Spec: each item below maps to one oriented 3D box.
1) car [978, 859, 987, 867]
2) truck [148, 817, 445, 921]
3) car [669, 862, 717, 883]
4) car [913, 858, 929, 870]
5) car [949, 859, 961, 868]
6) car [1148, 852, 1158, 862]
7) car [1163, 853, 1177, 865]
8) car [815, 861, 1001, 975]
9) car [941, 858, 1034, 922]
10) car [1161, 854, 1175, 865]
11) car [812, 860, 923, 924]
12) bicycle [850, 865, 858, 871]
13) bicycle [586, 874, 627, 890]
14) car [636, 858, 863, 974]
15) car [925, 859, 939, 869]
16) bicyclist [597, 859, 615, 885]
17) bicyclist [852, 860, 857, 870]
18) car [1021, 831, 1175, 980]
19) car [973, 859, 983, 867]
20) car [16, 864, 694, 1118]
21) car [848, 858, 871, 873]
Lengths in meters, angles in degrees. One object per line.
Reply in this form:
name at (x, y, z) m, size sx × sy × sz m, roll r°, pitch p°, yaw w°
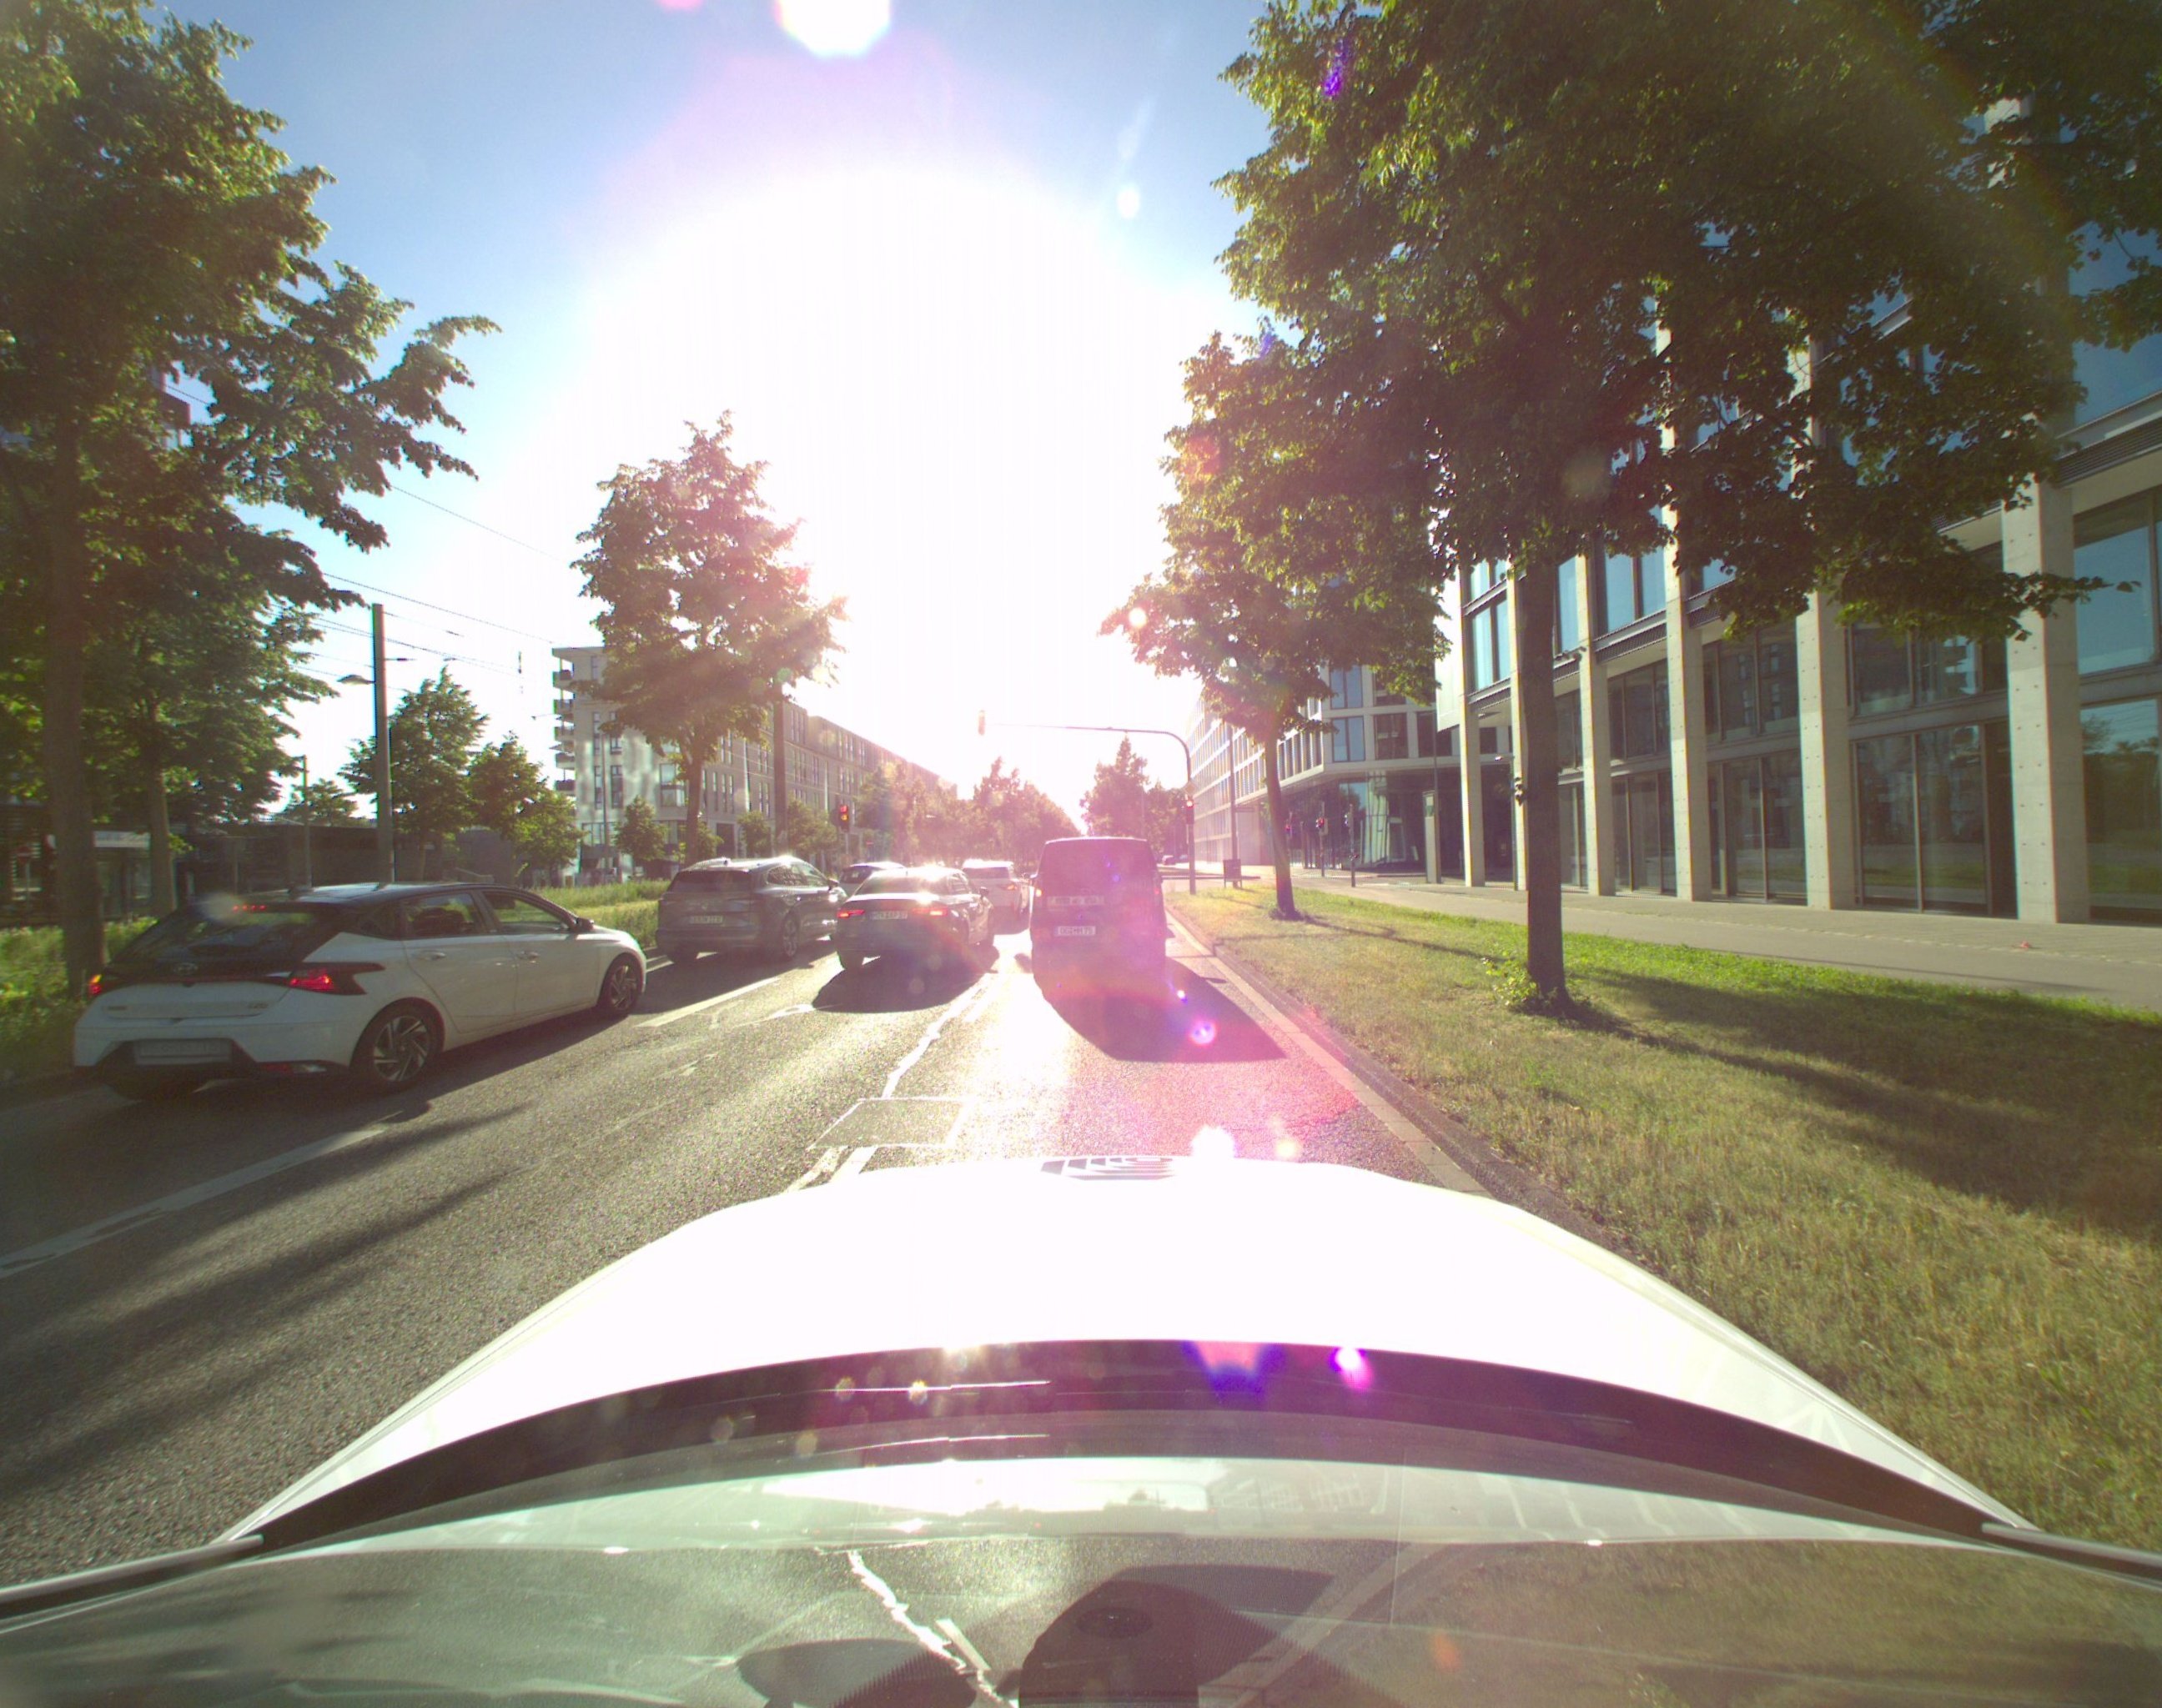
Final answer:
car at (-27.504, 2.563, 226.956) m, size 1.986 × 2.013 × 4.001 m, roll -2°, pitch 0°, yaw 2°
truck at (-33.573, 0.585, 35.798) m, size 2.880 × 3.853 × 10.217 m, roll -2°, pitch 0°, yaw 2°
car at (-31.003, 1.433, 65.223) m, size 1.758 × 1.520 × 4.002 m, roll -2°, pitch 0°, yaw 2°
car at (-30.122, 1.859, 153.430) m, size 1.986 × 2.013 × 4.001 m, roll -2°, pitch 0°, yaw 2°
car at (-28.937, 2.176, 186.509) m, size 1.986 × 2.013 × 4.001 m, roll -2°, pitch 0°, yaw 2°
car at (17.839, 0.679, 201.362) m, size 1.986 × 2.497 × 4.988 m, roll -2°, pitch 0°, yaw 2°
car at (14.321, 0.832, 131.047) m, size 1.986 × 1.782 × 4.001 m, roll -2°, pitch 0°, yaw 2°
car at (-2.466, 0.850, 12.756) m, size 1.835 × 1.426 × 4.340 m, roll -1°, pitch 0°, yaw 2°
car at (-2.290, 0.849, 20.929) m, size 1.797 × 1.426 × 3.902 m, roll -1°, pitch 0°, yaw 2°
car at (14.427, 0.879, 135.975) m, size 1.986 × 1.782 × 4.001 m, roll -2°, pitch 0°, yaw 2°
car at (-5.596, 0.931, 21.960) m, size 1.794 × 1.483 × 4.566 m, roll 2°, pitch 0°, yaw -1°
bicycle at (-36.100, 2.226, 129.671) m, size 0.674 × 0.988 × 1.957 m, roll -2°, pitch 0°, yaw 2°
bicycle at (-39.420, 2.312, 67.668) m, size 2.930 × 1.190 × 0.818 m, roll -2°, pitch 0°, yaw 2°
car at (-5.316, 0.893, 13.846) m, size 1.792 × 1.447 × 4.571 m, roll -2°, pitch 1°, yaw 2°
car at (-29.716, 1.947, 162.527) m, size 1.986 × 2.013 × 4.001 m, roll -2°, pitch 0°, yaw 2°
bicyclist at (-39.449, 1.479, 67.687) m, size 0.936 × 2.092 × 0.818 m, roll -2°, pitch 0°, yaw 2°
bicyclist at (-36.099, 1.742, 129.769) m, size 0.674 × 1.529 × 0.714 m, roll -2°, pitch 0°, yaw 1°
car at (0.268, 0.631, 11.960) m, size 1.835 × 1.780 × 4.001 m, roll -1°, pitch 0°, yaw 2°
car at (-27.958, 2.507, 221.339) m, size 1.986 × 2.013 × 4.001 m, roll -2°, pitch 0°, yaw 2°
car at (-5.493, 0.859, 7.218) m, size 1.792 × 1.447 × 4.570 m, roll -2°, pitch 0°, yaw 1°
car at (-30.874, 1.568, 113.644) m, size 1.986 × 2.013 × 4.001 m, roll -2°, pitch 0°, yaw 2°
